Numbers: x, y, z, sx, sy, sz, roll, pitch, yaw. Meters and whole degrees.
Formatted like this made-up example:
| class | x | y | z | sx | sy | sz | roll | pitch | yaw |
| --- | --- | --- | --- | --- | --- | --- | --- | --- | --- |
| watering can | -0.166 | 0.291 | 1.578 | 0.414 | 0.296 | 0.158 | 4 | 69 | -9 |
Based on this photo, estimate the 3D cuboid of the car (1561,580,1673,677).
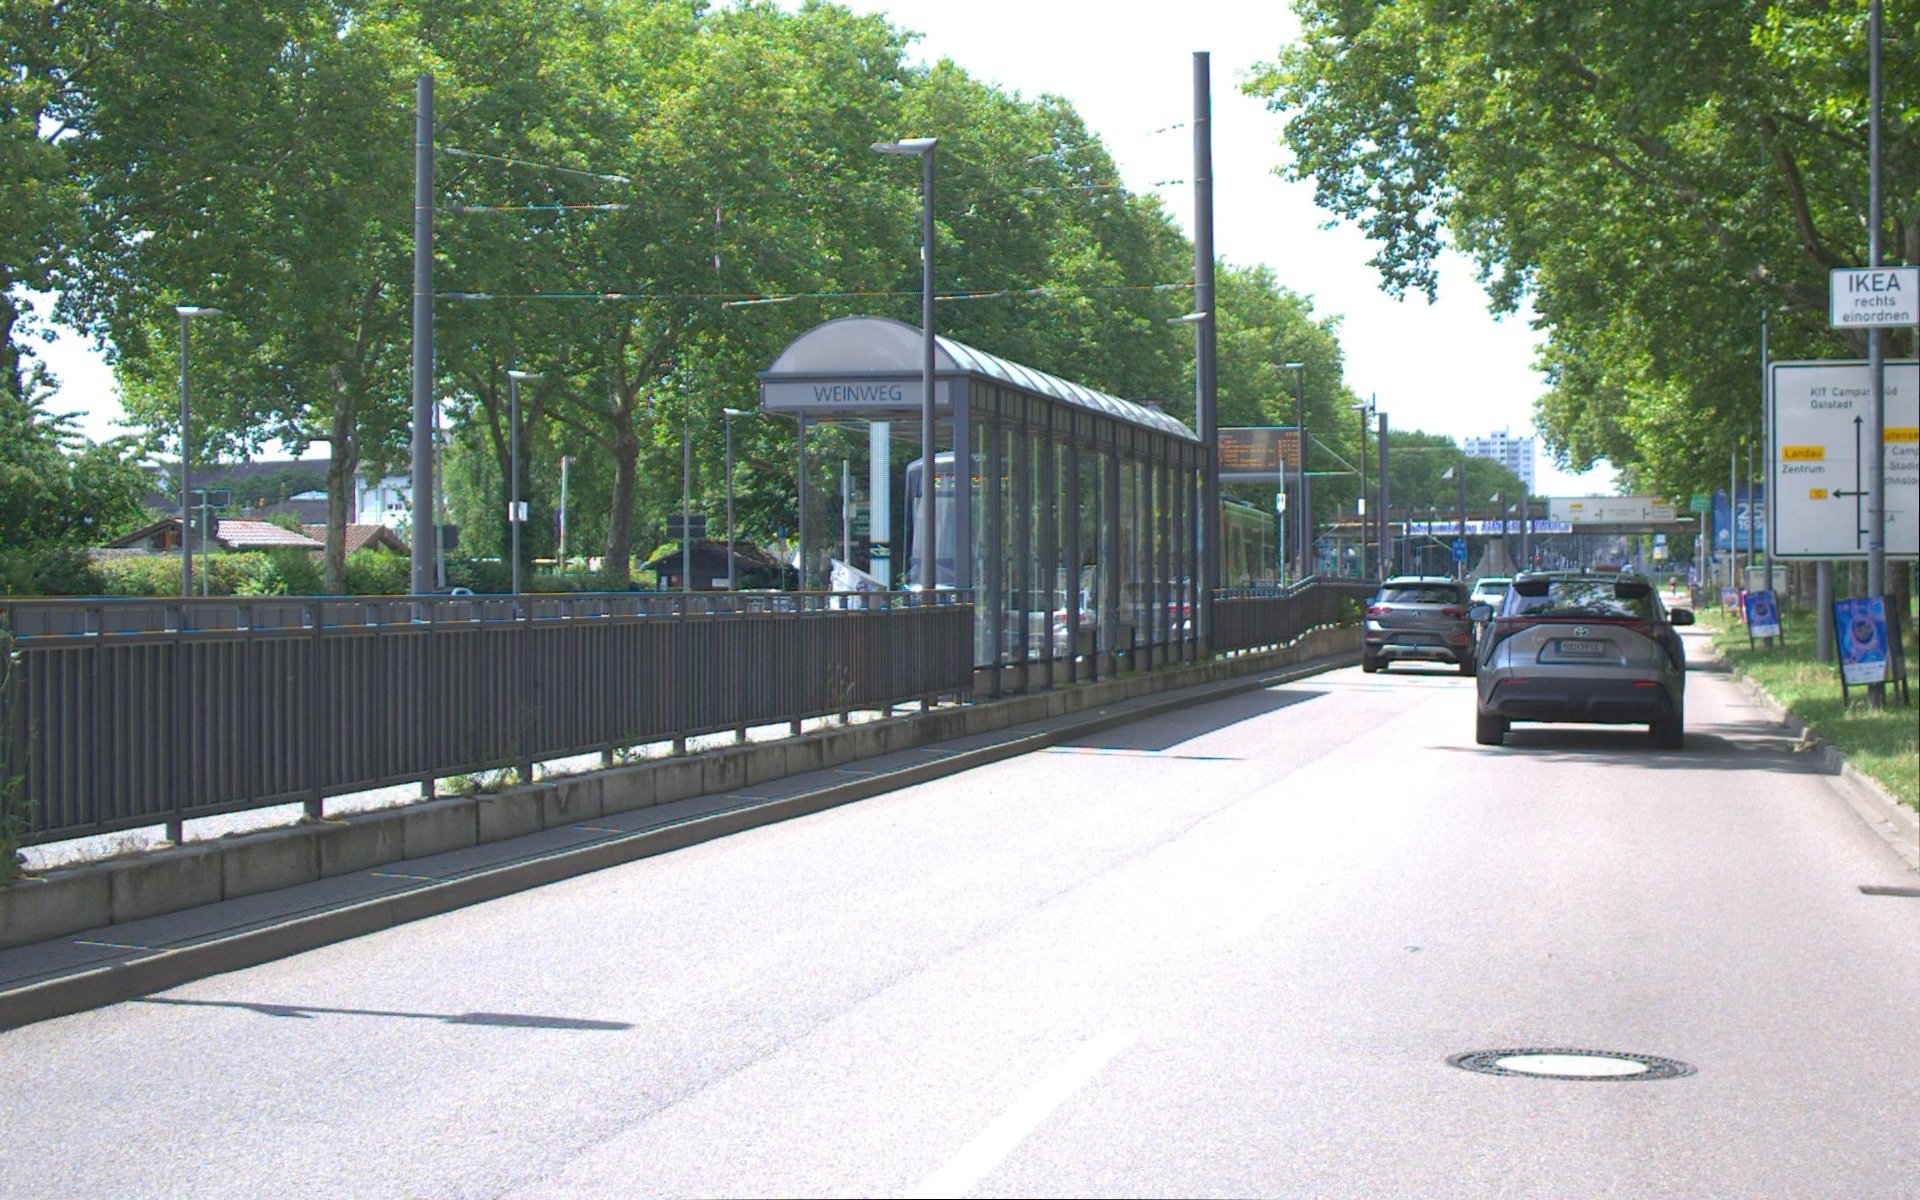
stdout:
| class | x | y | z | sx | sy | sz | roll | pitch | yaw |
| --- | --- | --- | --- | --- | --- | --- | --- | --- | --- |
| car | 11.451 | 0.470 | 60.113 | 1.832 | 1.624 | 4.294 | 1 | 0 | 10 |

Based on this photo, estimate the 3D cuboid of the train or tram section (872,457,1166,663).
| class | x | y | z | sx | sy | sz | roll | pitch | yaw |
| --- | --- | --- | --- | --- | --- | --- | --- | --- | --- |
| train or tram section | 1.320 | -0.675 | 60.213 | 3.038 | 3.175 | 14.095 | 0 | 0 | 10 |

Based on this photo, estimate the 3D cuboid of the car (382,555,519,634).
| class | x | y | z | sx | sy | sz | roll | pitch | yaw |
| --- | --- | --- | --- | --- | --- | --- | --- | --- | --- |
| car | -11.111 | -0.147 | 75.274 | 1.709 | 1.579 | 3.998 | 1 | 2 | 11 |

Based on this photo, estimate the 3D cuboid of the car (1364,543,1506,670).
| class | x | y | z | sx | sy | sz | roll | pitch | yaw |
| --- | --- | --- | --- | --- | --- | --- | --- | --- | --- |
| car | 7.769 | 0.083 | 55.977 | 1.994 | 1.982 | 4.361 | 0 | 0 | 12 |

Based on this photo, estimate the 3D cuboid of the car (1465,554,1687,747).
| class | x | y | z | sx | sy | sz | roll | pitch | yaw |
| --- | --- | --- | --- | --- | --- | --- | --- | --- | --- |
| car | 5.810 | 0.442 | 32.435 | 1.898 | 1.669 | 4.517 | 1 | 0 | 10 |

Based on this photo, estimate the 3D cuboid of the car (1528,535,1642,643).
| class | x | y | z | sx | sy | sz | roll | pitch | yaw |
| --- | --- | --- | --- | --- | --- | --- | --- | --- | --- |
| car | 12.115 | -0.254 | 66.475 | 1.994 | 1.982 | 4.361 | 0 | 1 | 12 |
